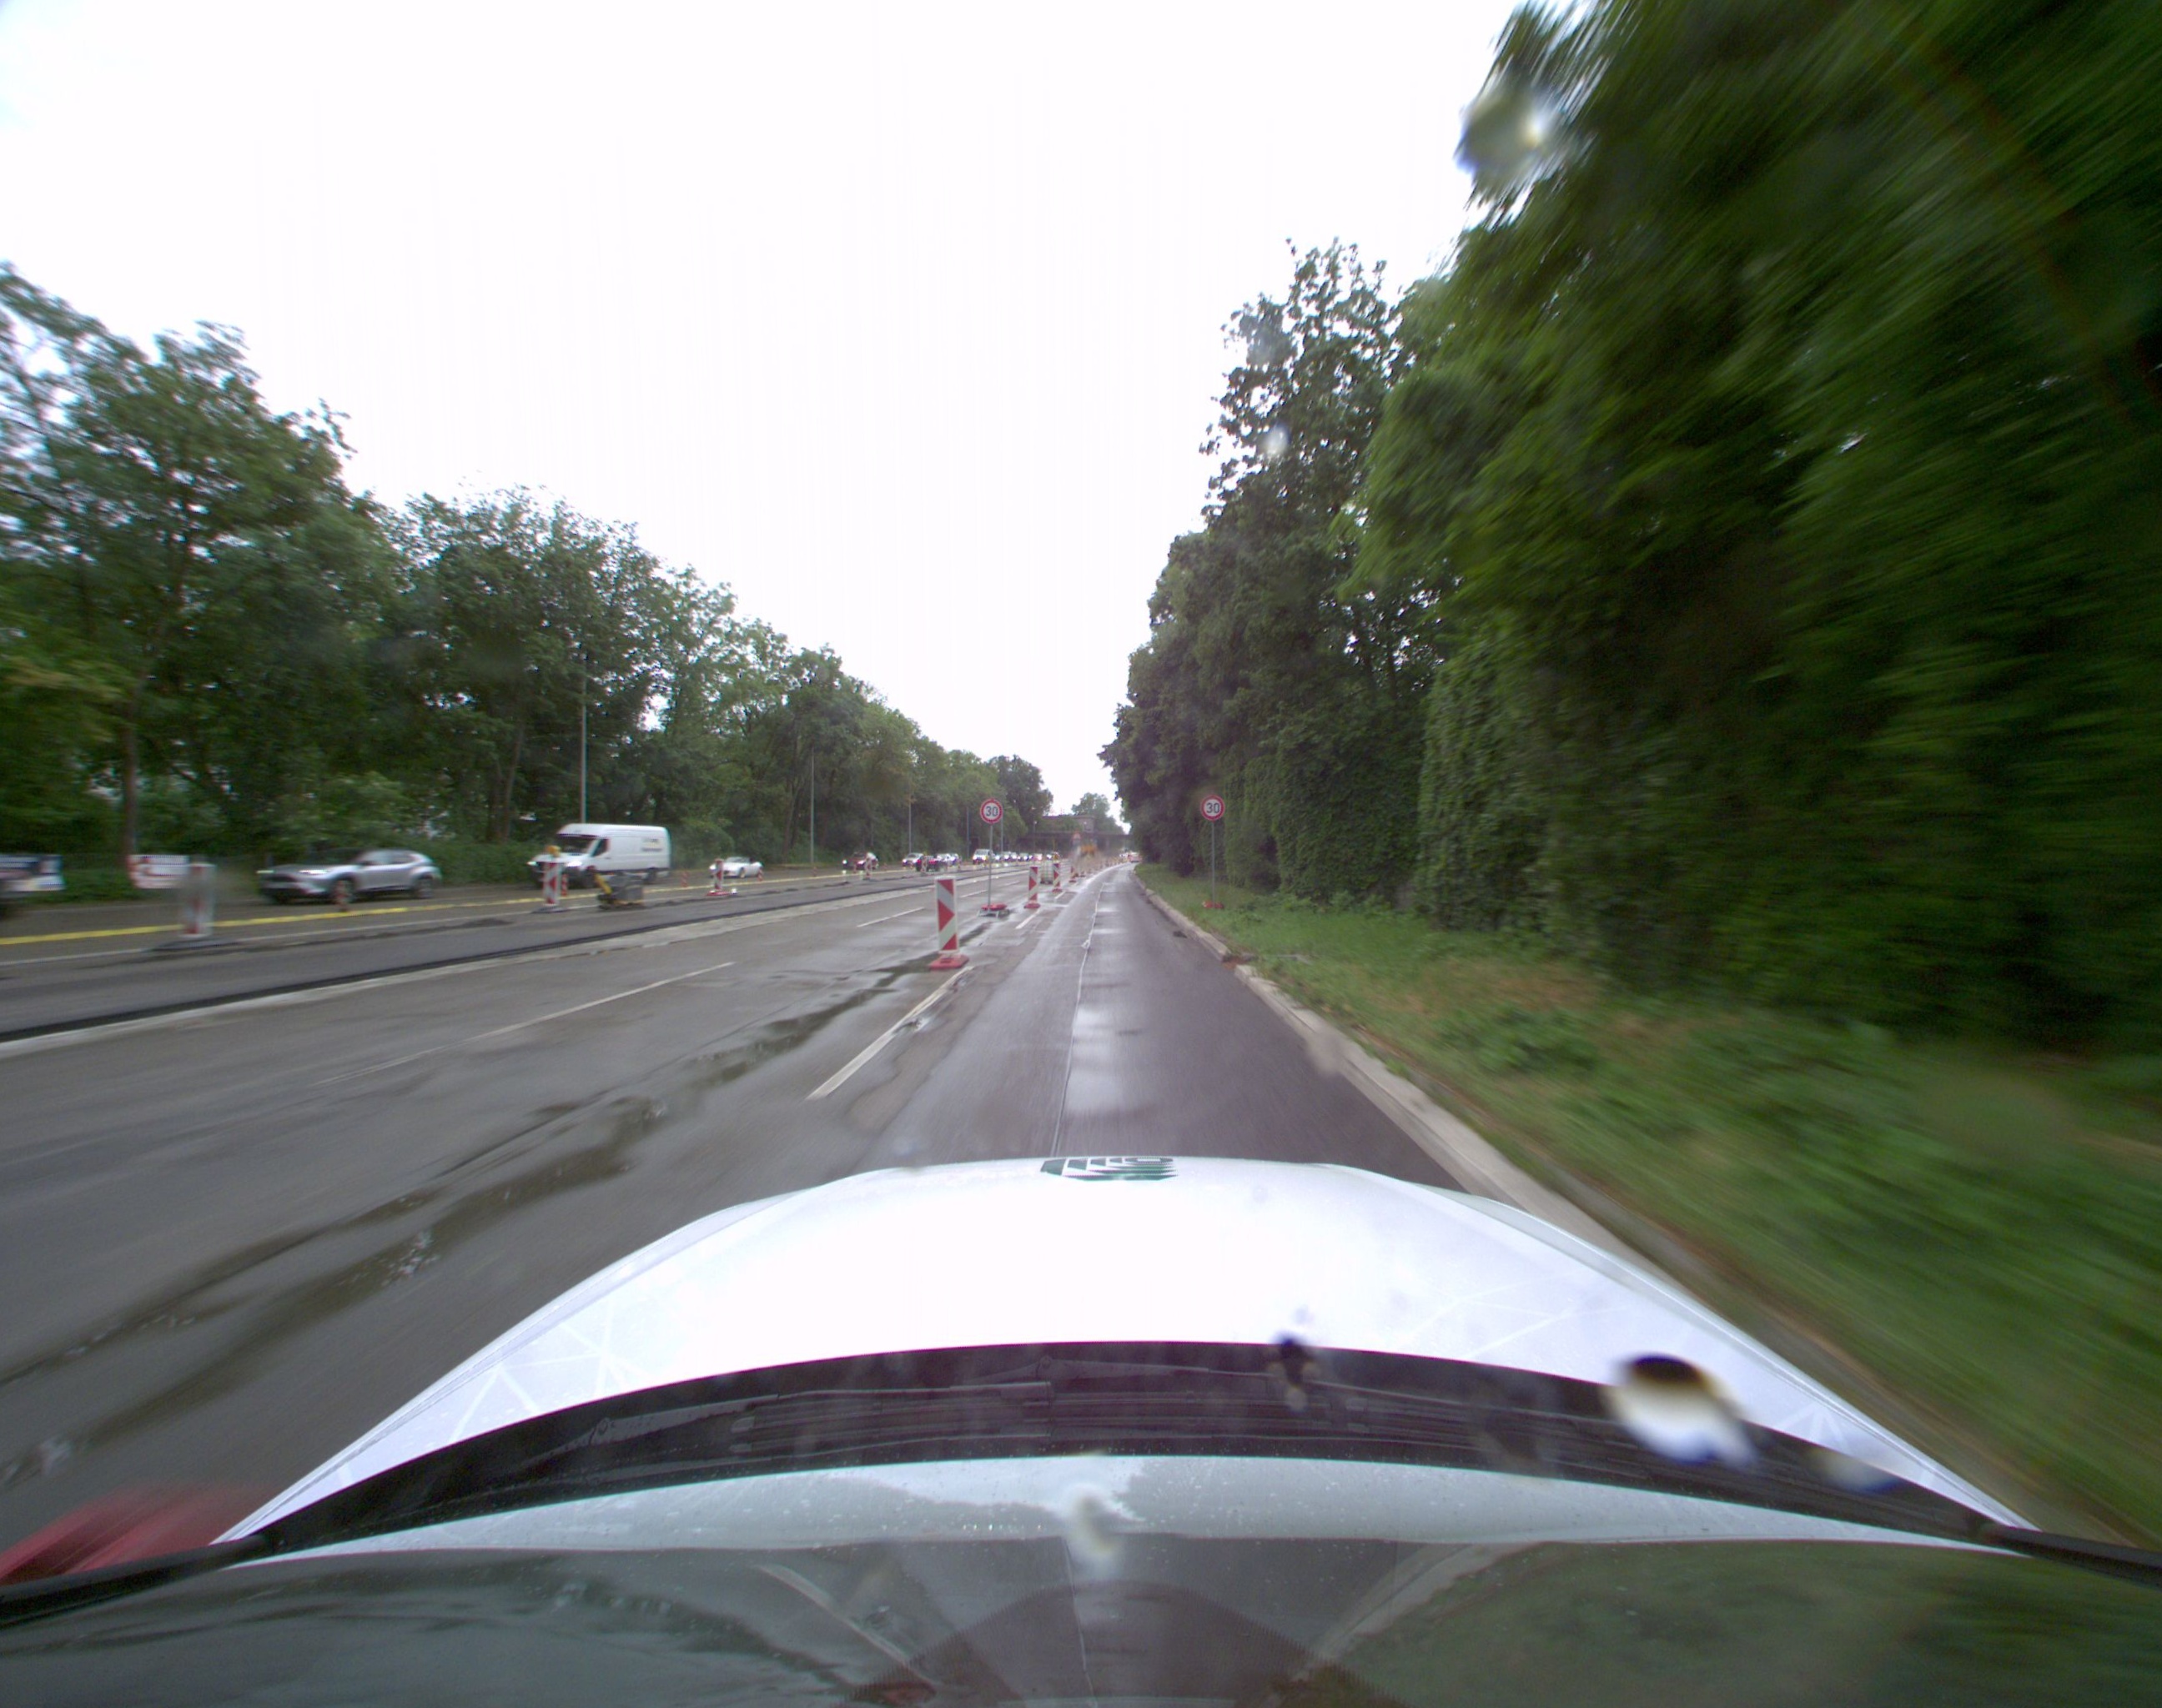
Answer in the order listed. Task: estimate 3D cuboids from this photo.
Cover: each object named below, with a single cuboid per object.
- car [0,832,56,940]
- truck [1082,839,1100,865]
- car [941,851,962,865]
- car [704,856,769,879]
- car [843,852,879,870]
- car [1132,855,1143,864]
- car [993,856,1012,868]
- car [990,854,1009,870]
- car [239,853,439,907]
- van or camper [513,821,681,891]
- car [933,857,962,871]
[{"bbox_3d":[-18.118,0.508,11.153,1.986,1.693,4.809,0,0,2],"label":"car"},{"bbox_3d":[1.782,-0.325,139.998,2.887,4.259,10.759,1,0,2],"label":"truck"},{"bbox_3d":[-16.122,0.524,101.601,1.820,1.621,4.002,2,0,2],"label":"car"},{"bbox_3d":[-19.420,0.740,46.109,1.681,1.183,4.004,2,0,4],"label":"car"},{"bbox_3d":[-18.539,0.589,68.746,1.722,1.476,4.488,0,0,1],"label":"car"},{"bbox_3d":[11.014,1.087,159.269,1.983,1.640,4.007,0,-1,6],"label":"car"},{"bbox_3d":[-11.842,1.184,123.299,2.012,1.725,5.020,1,0,5],"label":"car"},{"bbox_3d":[-10.787,1.055,107.824,1.987,1.972,4.901,1,0,0],"label":"car"},{"bbox_3d":[-20.286,0.656,22.533,1.709,1.364,4.082,0,0,1],"label":"car"},{"bbox_3d":[-19.777,0.081,33.946,1.986,2.555,7.734,2,0,2],"label":"van or camper"},{"bbox_3d":[-13.686,1.054,83.824,1.985,1.416,4.397,0,0,3],"label":"car"}]
